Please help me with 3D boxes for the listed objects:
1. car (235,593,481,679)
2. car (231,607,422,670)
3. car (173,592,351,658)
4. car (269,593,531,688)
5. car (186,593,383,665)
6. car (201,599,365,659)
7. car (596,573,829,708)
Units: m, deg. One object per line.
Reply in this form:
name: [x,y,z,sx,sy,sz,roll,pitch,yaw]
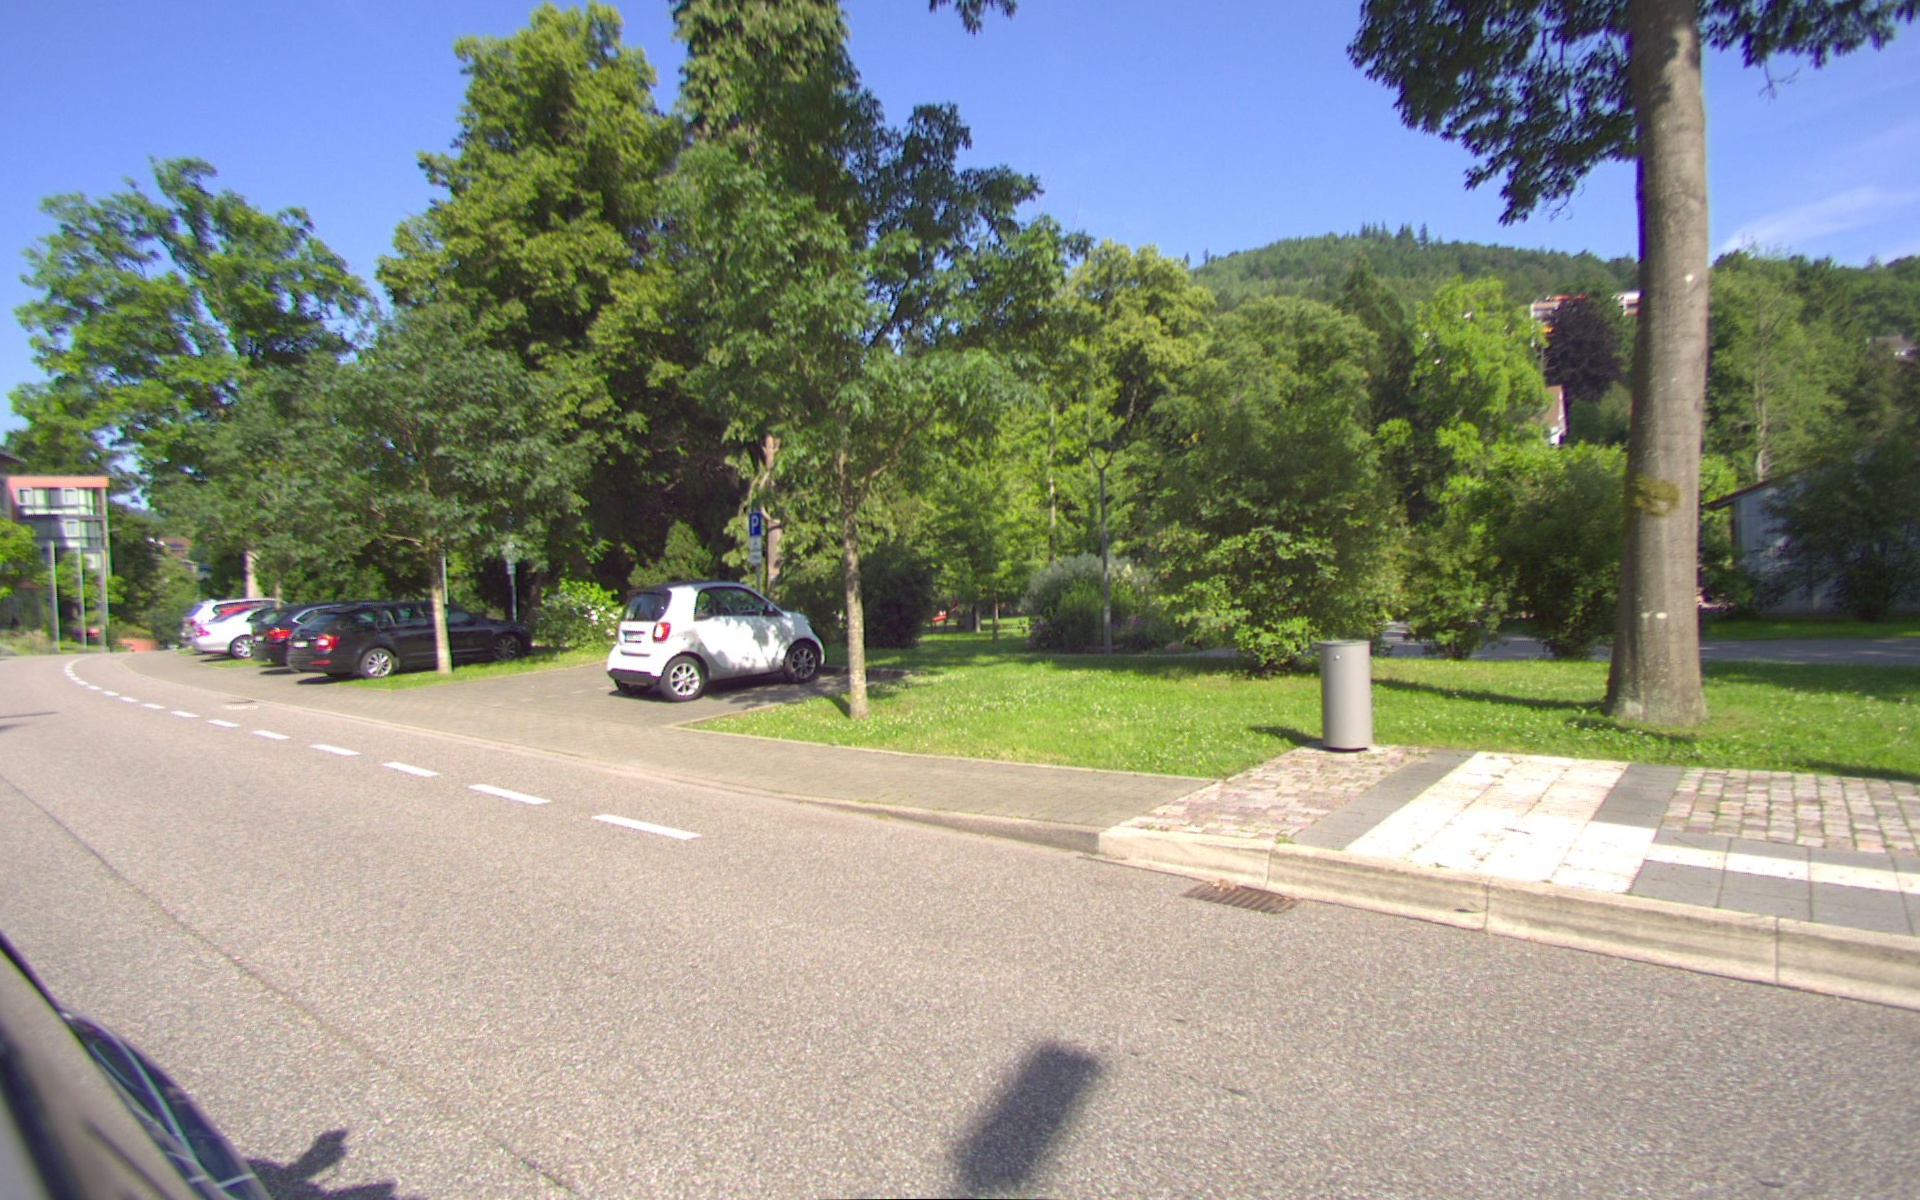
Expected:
car: [-13.582,0.748,23.073,1.712,1.521,4.449,-2,3,40]
car: [-16.157,0.936,25.950,1.762,1.252,3.756,-1,2,40]
car: [-22.687,0.750,33.013,1.810,1.675,4.434,0,4,43]
car: [-11.111,0.732,20.372,1.709,1.442,4.240,-2,3,35]
car: [-19.122,0.759,28.737,4.427,1.427,1.814,-8,5,-38]
car: [-20.877,0.854,31.300,3.940,1.443,1.722,-6,4,-43]
car: [-3.455,0.492,14.262,2.620,1.558,1.684,-6,3,-43]
